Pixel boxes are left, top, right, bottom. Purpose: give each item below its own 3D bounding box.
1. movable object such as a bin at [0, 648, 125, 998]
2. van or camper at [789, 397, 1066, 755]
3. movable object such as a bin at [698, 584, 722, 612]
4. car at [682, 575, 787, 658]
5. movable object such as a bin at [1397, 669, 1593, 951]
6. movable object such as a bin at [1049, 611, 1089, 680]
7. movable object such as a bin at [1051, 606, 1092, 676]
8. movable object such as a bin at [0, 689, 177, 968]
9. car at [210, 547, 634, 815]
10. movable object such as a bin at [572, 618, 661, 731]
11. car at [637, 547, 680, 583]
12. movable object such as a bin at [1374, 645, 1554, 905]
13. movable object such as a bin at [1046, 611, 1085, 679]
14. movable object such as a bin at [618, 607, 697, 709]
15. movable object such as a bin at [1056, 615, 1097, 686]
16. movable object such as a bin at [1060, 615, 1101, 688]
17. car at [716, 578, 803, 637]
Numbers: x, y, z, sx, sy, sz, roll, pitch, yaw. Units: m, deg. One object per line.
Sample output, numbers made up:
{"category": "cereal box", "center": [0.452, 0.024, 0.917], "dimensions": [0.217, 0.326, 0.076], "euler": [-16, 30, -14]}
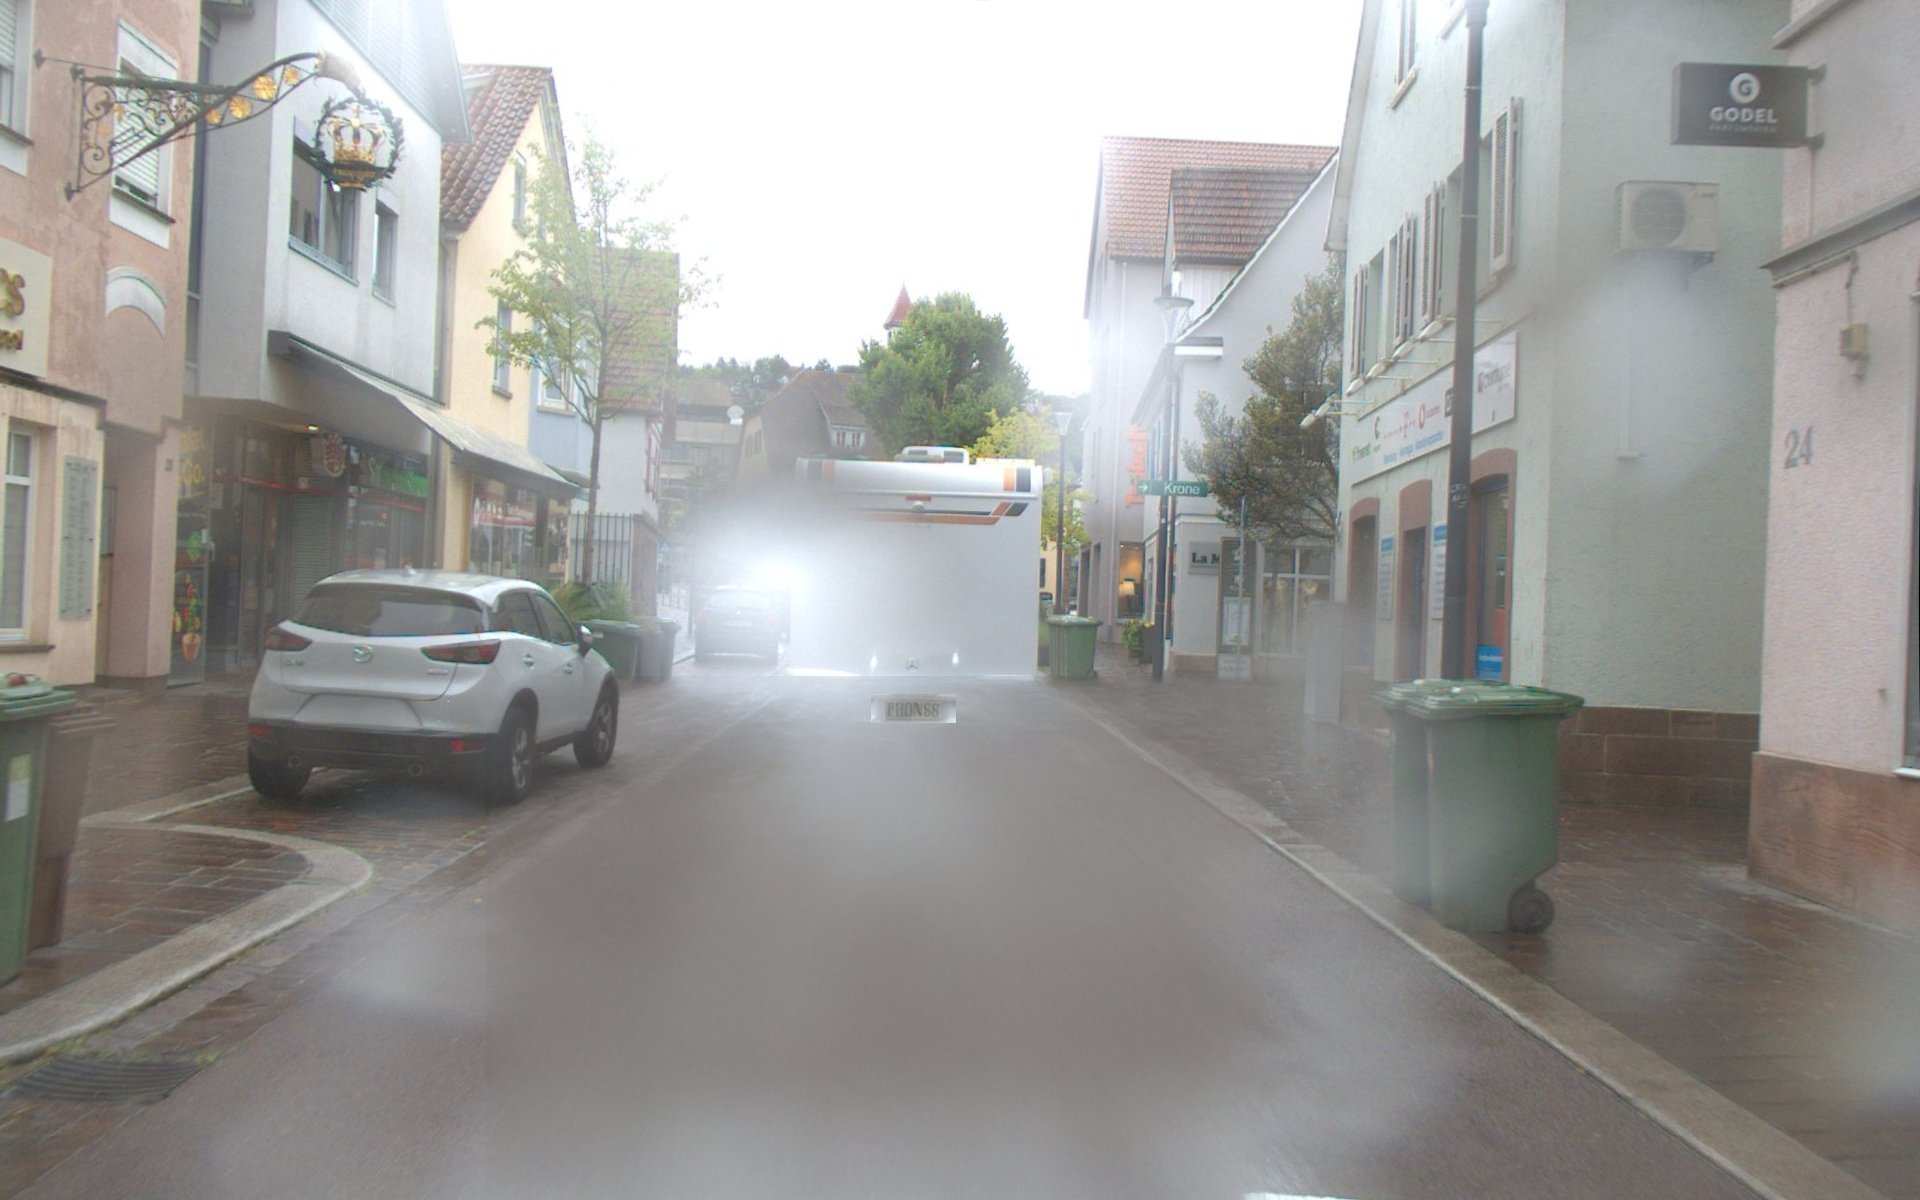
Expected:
{"category": "movable object such as a bin", "center": [-3.429, 0.723, 5.632], "dimensions": [0.732, 1.101, 0.763], "euler": [2, -1, 1]}
{"category": "van or camper", "center": [-0.490, -0.159, 17.282], "dimensions": [2.280, 2.970, 6.387], "euler": [2, -1, -4]}
{"category": "movable object such as a bin", "center": [-9.671, -0.080, 63.964], "dimensions": [0.805, 1.069, 0.696], "euler": [2, -1, -17]}
{"category": "car", "center": [-4.574, 0.301, 33.871], "dimensions": [1.956, 1.497, 3.994], "euler": [3, 0, -7]}
{"category": "movable object such as a bin", "center": [2.469, 0.951, 7.683], "dimensions": [0.704, 1.222, 0.573], "euler": [2, -1, 0]}
{"category": "movable object such as a bin", "center": [2.041, 0.852, 31.117], "dimensions": [0.664, 1.254, 0.564], "euler": [2, -1, -2]}
{"category": "movable object such as a bin", "center": [2.060, 0.754, 30.555], "dimensions": [0.664, 1.278, 0.542], "euler": [2, -1, -2]}
{"category": "movable object such as a bin", "center": [-3.465, 0.849, 6.314], "dimensions": [0.643, 0.972, 0.562], "euler": [2, -1, 1]}
{"category": "car", "center": [-3.697, 0.524, 12.165], "dimensions": [1.790, 1.594, 3.999], "euler": [2, -1, -1]}
{"category": "movable object such as a bin", "center": [-3.535, 0.756, 17.068], "dimensions": [0.799, 1.125, 0.609], "euler": [2, -1, -6]}
{"category": "car", "center": [-18.959, -2.184, 103.891], "dimensions": [1.964, 2.049, 3.977], "euler": [2, -1, -19]}
{"category": "movable object such as a bin", "center": [2.506, 0.852, 8.273], "dimensions": [0.704, 1.222, 0.578], "euler": [2, -1, 0]}
{"category": "movable object such as a bin", "center": [2.017, 0.858, 31.692], "dimensions": [0.664, 1.272, 0.564], "euler": [2, -1, -2]}
{"category": "movable object such as a bin", "center": [-3.609, 0.687, 19.776], "dimensions": [0.799, 1.125, 0.609], "euler": [5, -1, -6]}
{"category": "movable object such as a bin", "center": [2.113, 0.909, 29.999], "dimensions": [0.645, 1.267, 0.542], "euler": [2, -1, -2]}
{"category": "movable object such as a bin", "center": [2.141, 0.914, 29.413], "dimensions": [0.645, 1.260, 0.621], "euler": [2, -1, -2]}
{"category": "car", "center": [-5.970, 0.201, 48.907], "dimensions": [1.961, 1.520, 3.984], "euler": [3, 0, -15]}
